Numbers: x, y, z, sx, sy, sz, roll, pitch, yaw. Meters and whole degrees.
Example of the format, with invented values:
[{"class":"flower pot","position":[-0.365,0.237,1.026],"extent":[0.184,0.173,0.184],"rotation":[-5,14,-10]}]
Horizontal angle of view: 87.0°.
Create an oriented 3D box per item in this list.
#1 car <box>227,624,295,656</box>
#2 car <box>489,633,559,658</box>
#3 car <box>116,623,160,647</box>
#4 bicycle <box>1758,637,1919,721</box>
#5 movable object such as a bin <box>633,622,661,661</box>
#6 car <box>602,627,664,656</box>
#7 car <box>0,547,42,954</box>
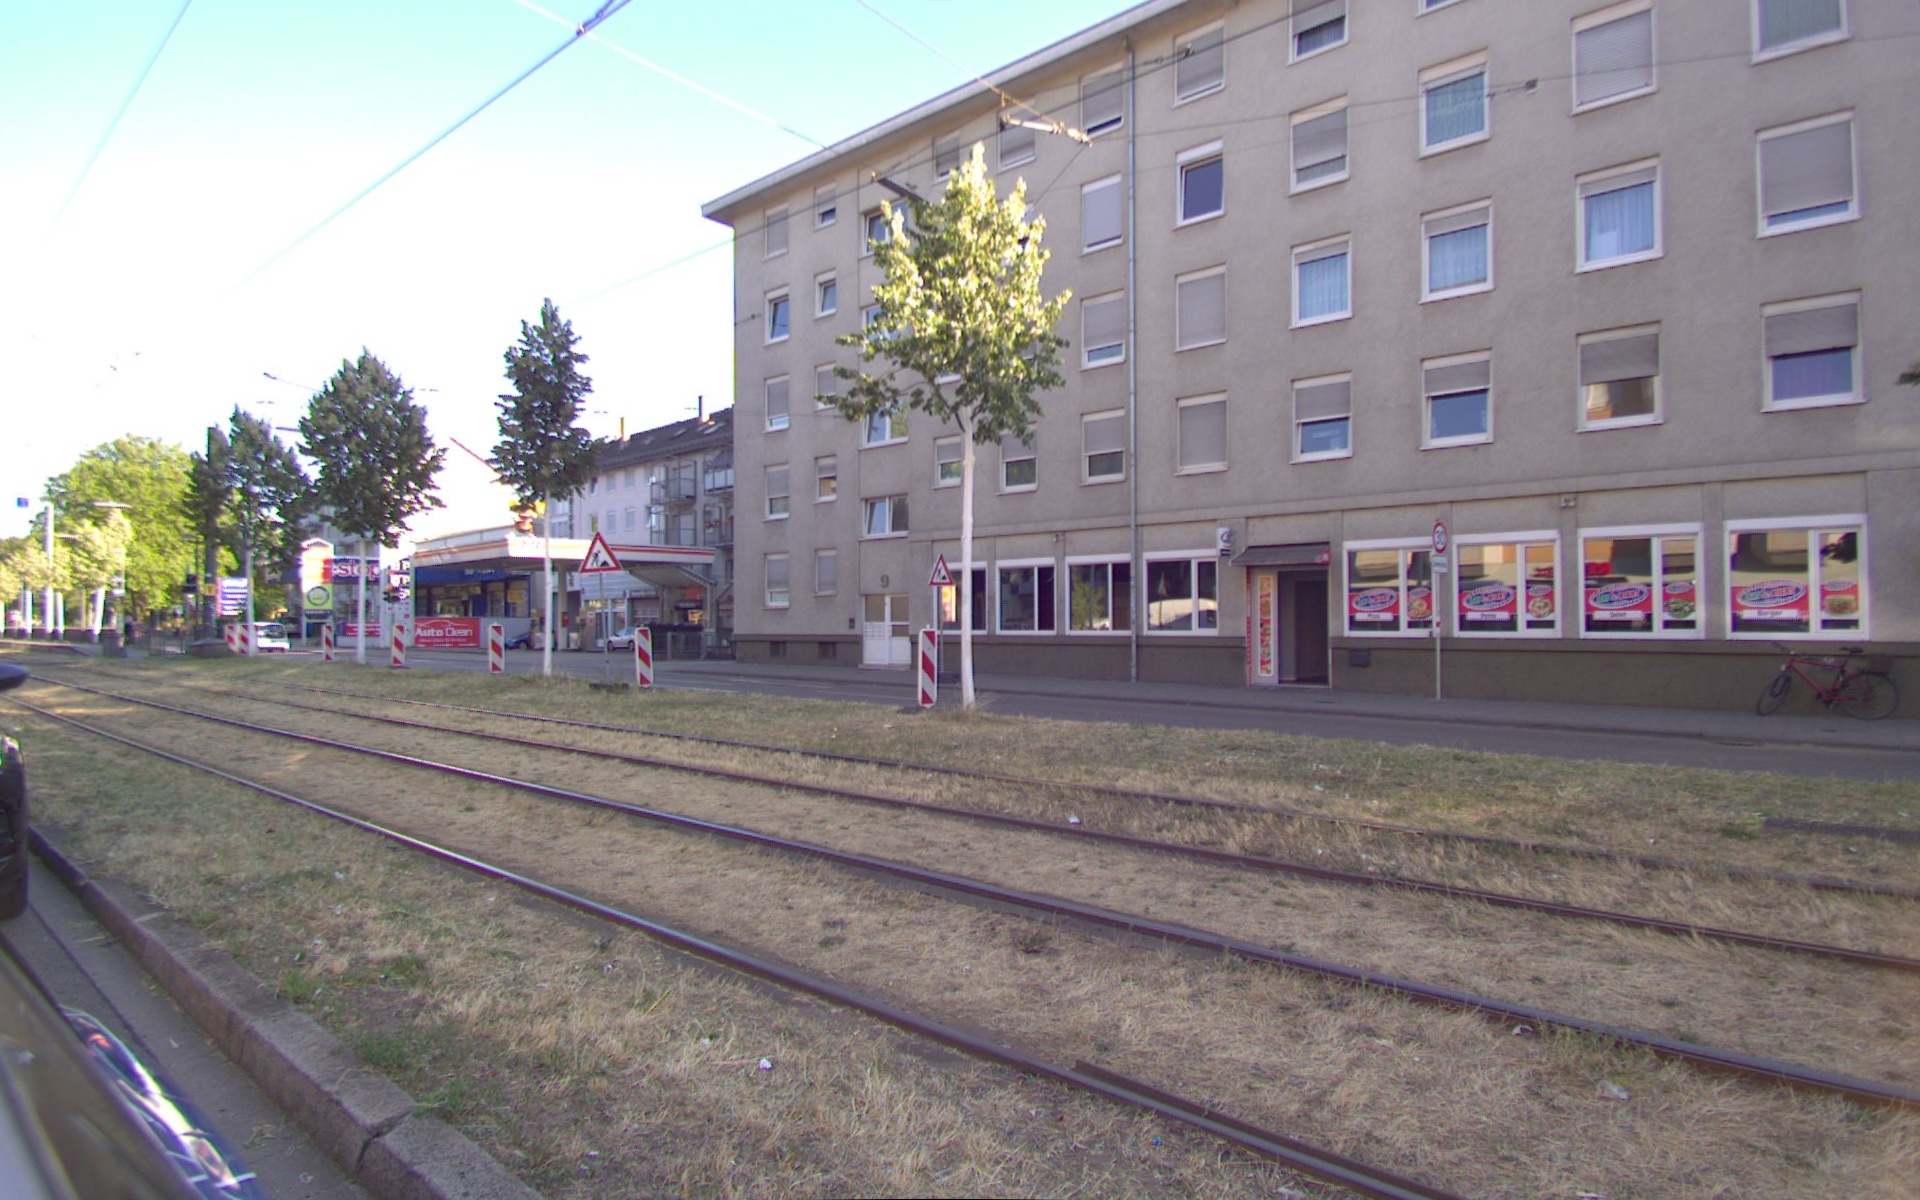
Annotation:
[{"class":"car","position":[-34.391,1.940,49.761],"extent":[3.826,1.523,1.793],"rotation":[-1,-2,40]},{"class":"car","position":[-28.415,2.947,66.000],"extent":[1.818,1.535,3.752],"rotation":[-2,-2,43]},{"class":"car","position":[-58.584,2.476,72.111],"extent":[4.935,1.572,1.792],"rotation":[-1,-1,44]},{"class":"bicycle","position":[12.703,1.105,14.638],"extent":[1.777,1.123,0.739],"rotation":[-2,-2,41]},{"class":"movable object such as a bin","position":[-11.362,1.501,36.744],"extent":[0.748,1.411,0.656],"rotation":[-2,-2,39]},{"class":"car","position":[-19.368,2.439,59.822],"extent":[3.828,1.535,1.793],"rotation":[-1,0,42]},{"class":"car","position":[-5.916,0.659,4.767],"extent":[4.083,1.628,1.886],"rotation":[-2,0,41]}]
